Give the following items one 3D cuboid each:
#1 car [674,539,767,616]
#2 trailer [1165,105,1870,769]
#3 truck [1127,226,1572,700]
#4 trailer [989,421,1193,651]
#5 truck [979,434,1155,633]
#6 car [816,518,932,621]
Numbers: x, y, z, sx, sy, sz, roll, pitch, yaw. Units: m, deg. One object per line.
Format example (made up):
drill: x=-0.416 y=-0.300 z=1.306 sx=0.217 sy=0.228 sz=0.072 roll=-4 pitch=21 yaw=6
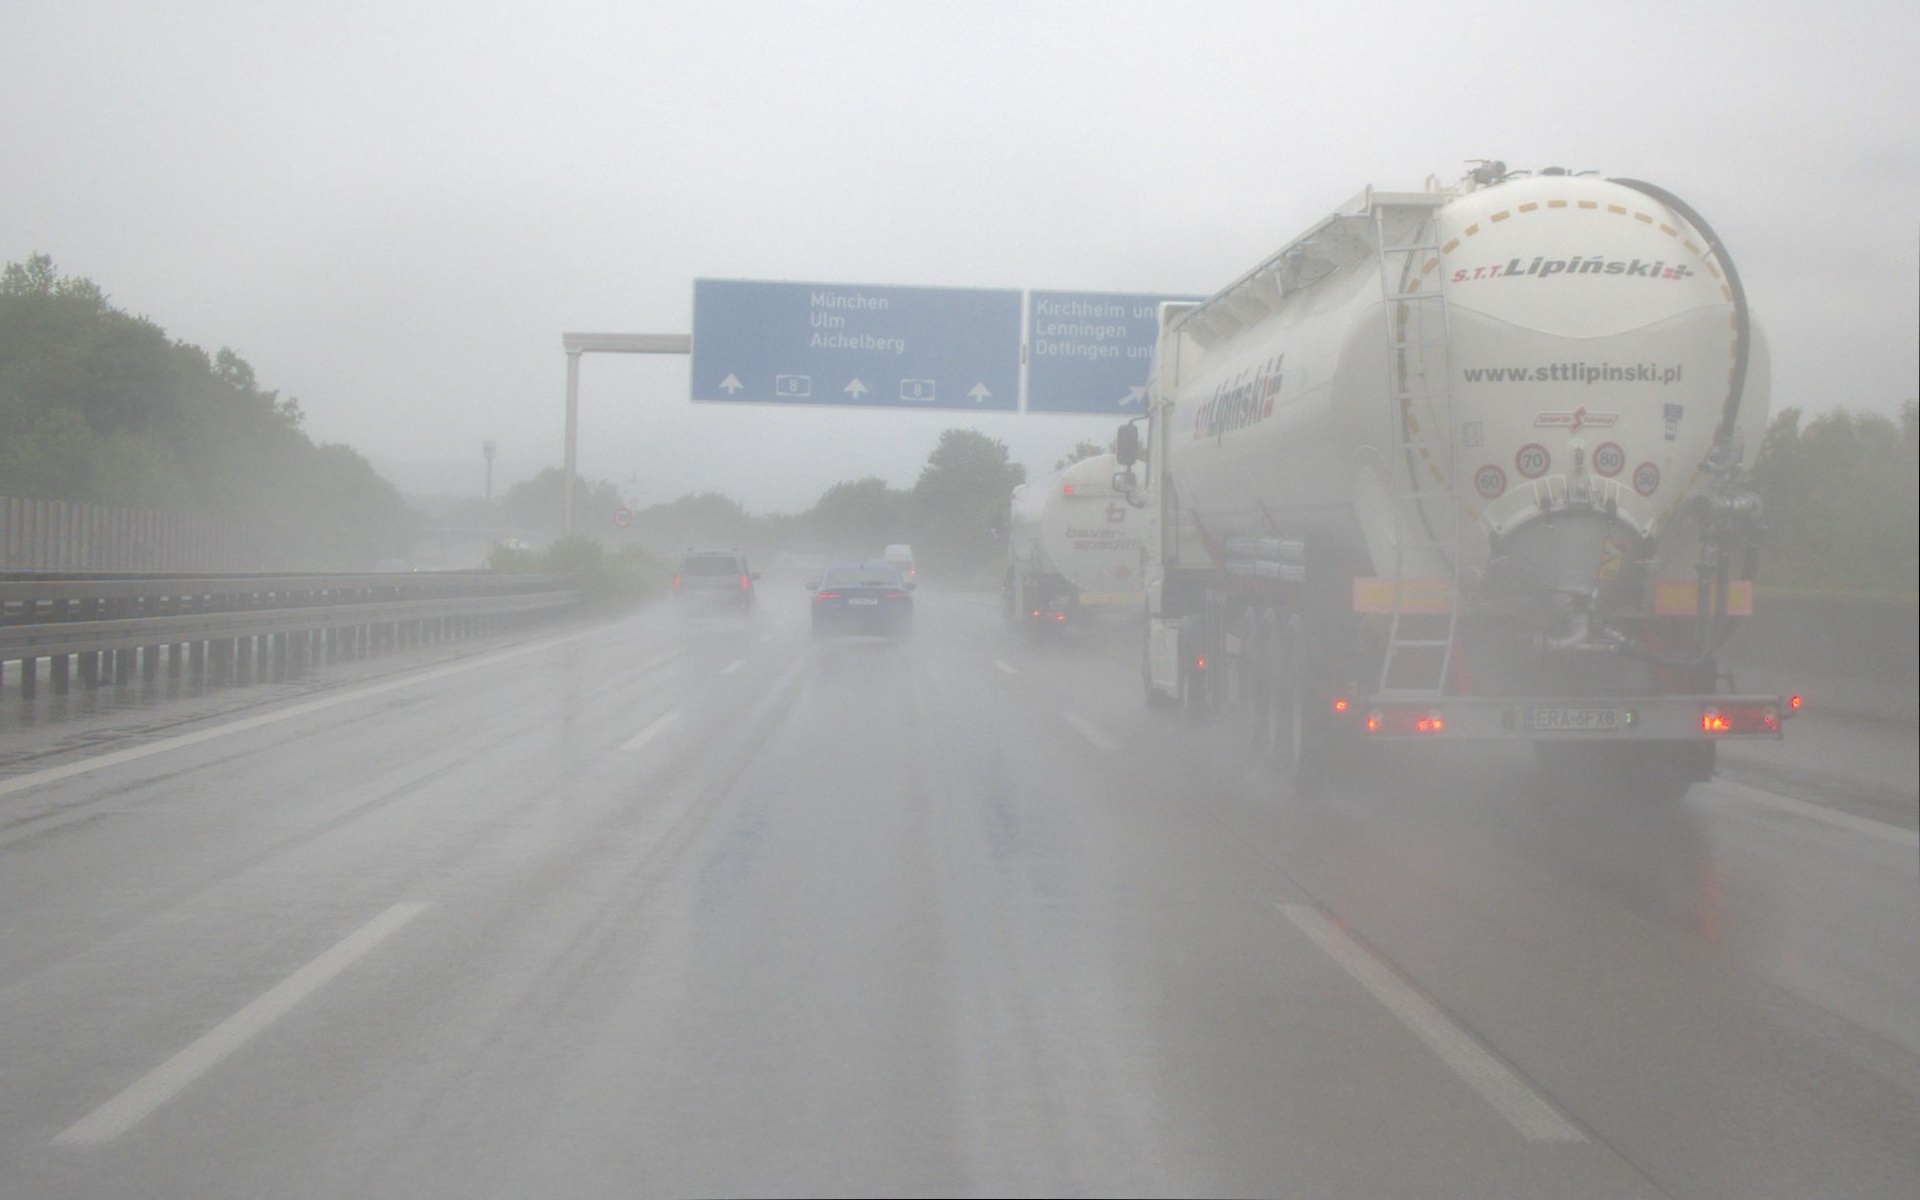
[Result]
car: x=-5.656 y=-0.554 z=81.749 sx=1.925 sy=1.735 sz=4.404 roll=0 pitch=1 yaw=0
trailer: x=3.456 y=-1.022 z=25.023 sx=3.188 sy=3.657 sz=11.667 roll=1 pitch=1 yaw=0
truck: x=3.331 y=-1.178 z=31.459 sx=3.104 sy=3.793 sz=7.213 roll=1 pitch=1 yaw=-1
trailer: x=2.235 y=-1.134 z=61.993 sx=3.004 sy=3.834 sz=8.624 roll=1 pitch=1 yaw=-2
truck: x=2.006 y=-1.282 z=67.126 sx=2.943 sy=3.671 sz=6.362 roll=1 pitch=1 yaw=-2
car: x=-1.490 y=-0.560 z=60.813 sx=1.978 sy=1.750 sz=4.482 roll=0 pitch=1 yaw=-1
